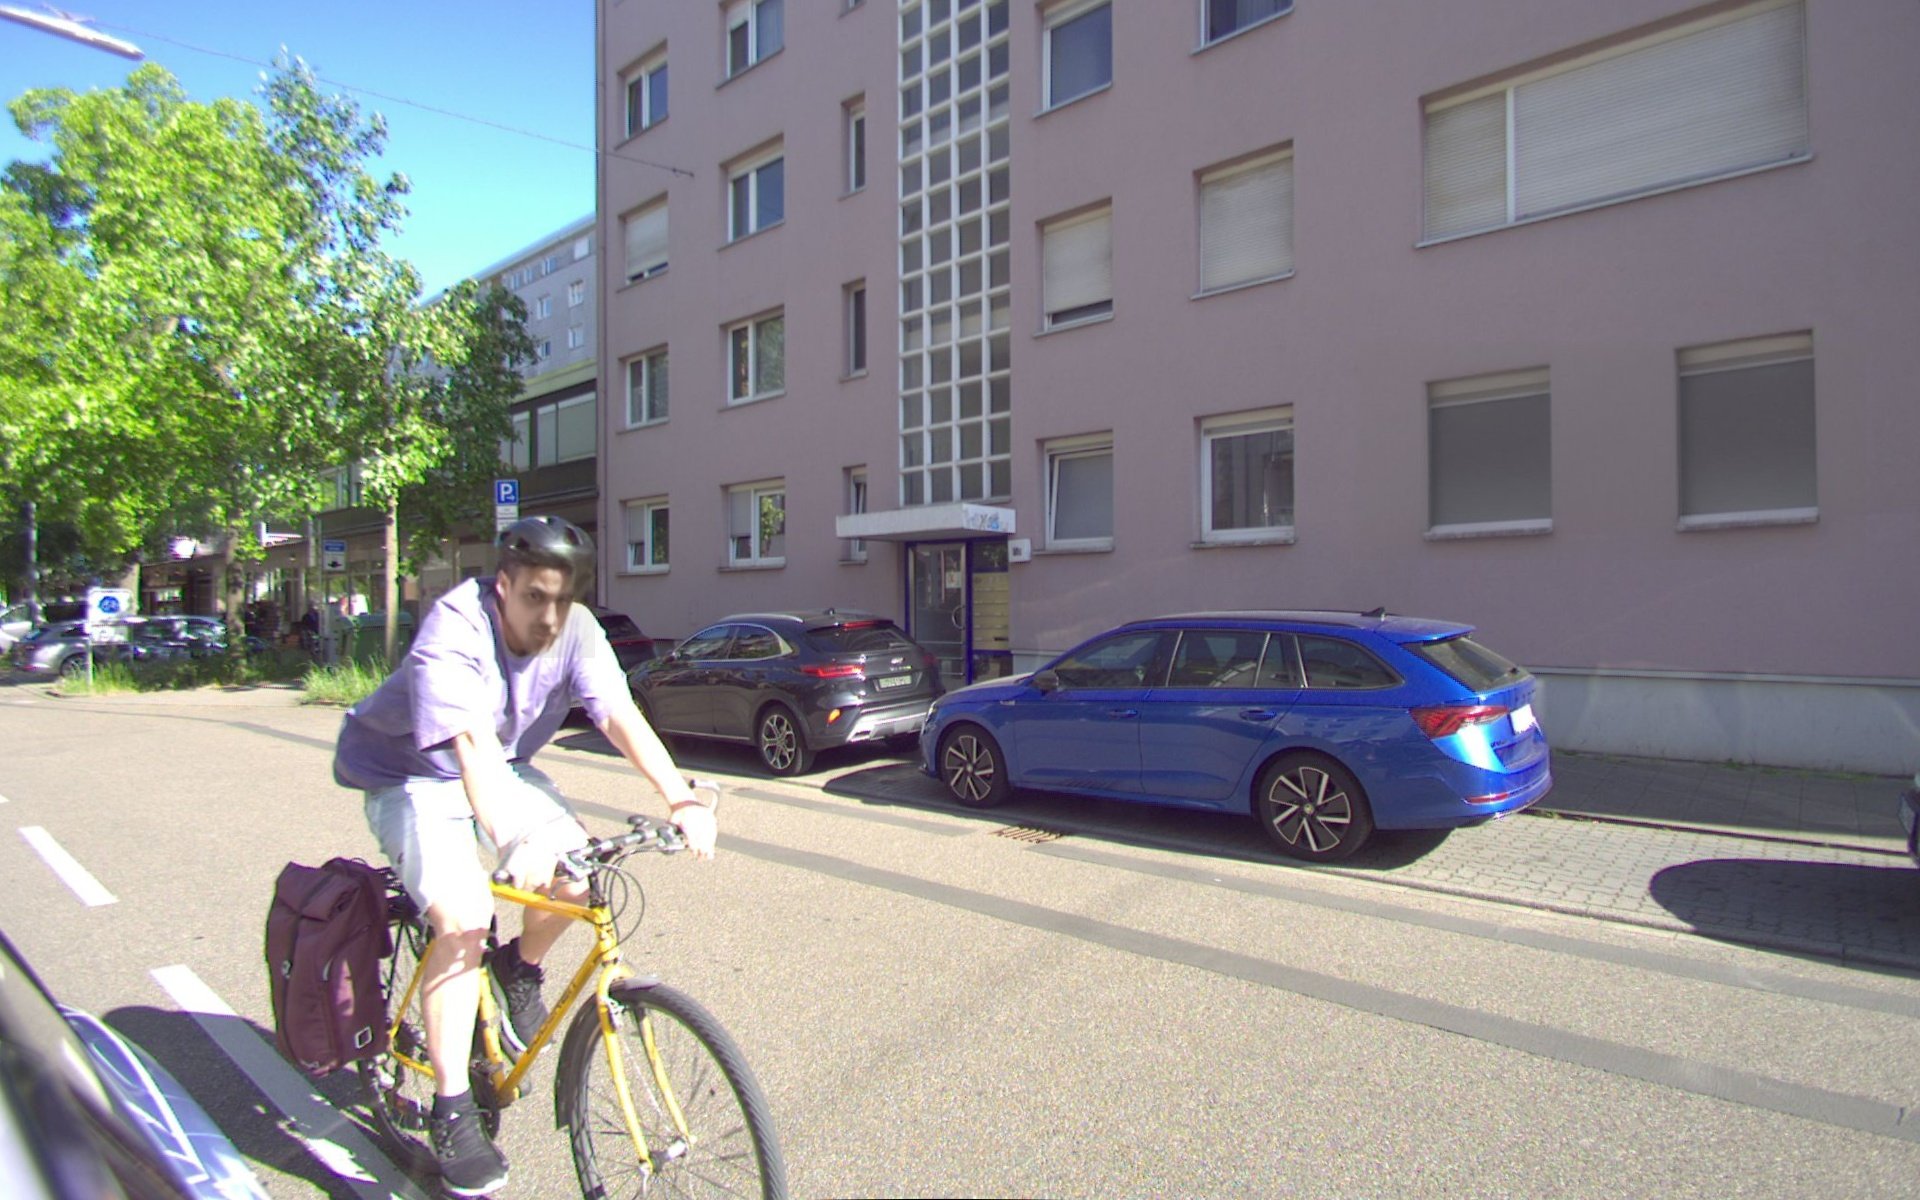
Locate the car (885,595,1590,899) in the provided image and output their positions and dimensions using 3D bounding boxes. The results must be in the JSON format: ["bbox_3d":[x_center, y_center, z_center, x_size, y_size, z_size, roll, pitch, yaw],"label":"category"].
[{"bbox_3d":[1.701,0.785,7.305,4.610,1.476,1.700,-1,2,41],"label":"car"}]

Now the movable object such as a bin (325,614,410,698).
[{"bbox_3d":[-11.572,1.064,19.772,1.230,1.557,1.019,0,-1,-44],"label":"movable object such as a bin"}]

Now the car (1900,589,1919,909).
[{"bbox_3d":[6.347,0.679,3.219,4.812,1.476,1.700,-1,2,41],"label":"car"}]

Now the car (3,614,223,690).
[{"bbox_3d":[-20.968,1.227,25.167,1.999,1.687,3.945,-1,-1,41],"label":"car"}]

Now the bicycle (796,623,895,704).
[{"bbox_3d":[-1.684,0.894,14.711,1.649,1.084,0.386,-1,3,42],"label":"bicycle"}]

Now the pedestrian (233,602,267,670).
[{"bbox_3d":[-21.584,1.080,30.765,0.566,2.029,0.743,-1,-1,41],"label":"pedestrian"}]

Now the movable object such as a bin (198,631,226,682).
[{"bbox_3d":[-18.484,1.382,25.022,0.409,1.234,0.482,-1,-1,41],"label":"movable object such as a bin"}]

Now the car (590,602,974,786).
[{"bbox_3d":[-2.044,0.840,10.799,4.245,1.519,1.798,-1,1,43],"label":"car"}]

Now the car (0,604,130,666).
[{"bbox_3d":[-31.280,1.170,34.825,1.999,2.047,3.945,-1,-1,41],"label":"car"}]

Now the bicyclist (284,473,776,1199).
[{"bbox_3d":[-1.013,0.468,2.348,1.016,1.357,0.603,-2,-2,35],"label":"bicyclist"}]

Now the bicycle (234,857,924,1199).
[{"bbox_3d":[-0.979,1.210,2.345,1.810,0.888,0.605,-2,-2,36],"label":"bicycle"}]

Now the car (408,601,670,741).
[{"bbox_3d":[-6.048,0.893,14.330,4.141,1.604,1.798,-1,2,43],"label":"car"}]
